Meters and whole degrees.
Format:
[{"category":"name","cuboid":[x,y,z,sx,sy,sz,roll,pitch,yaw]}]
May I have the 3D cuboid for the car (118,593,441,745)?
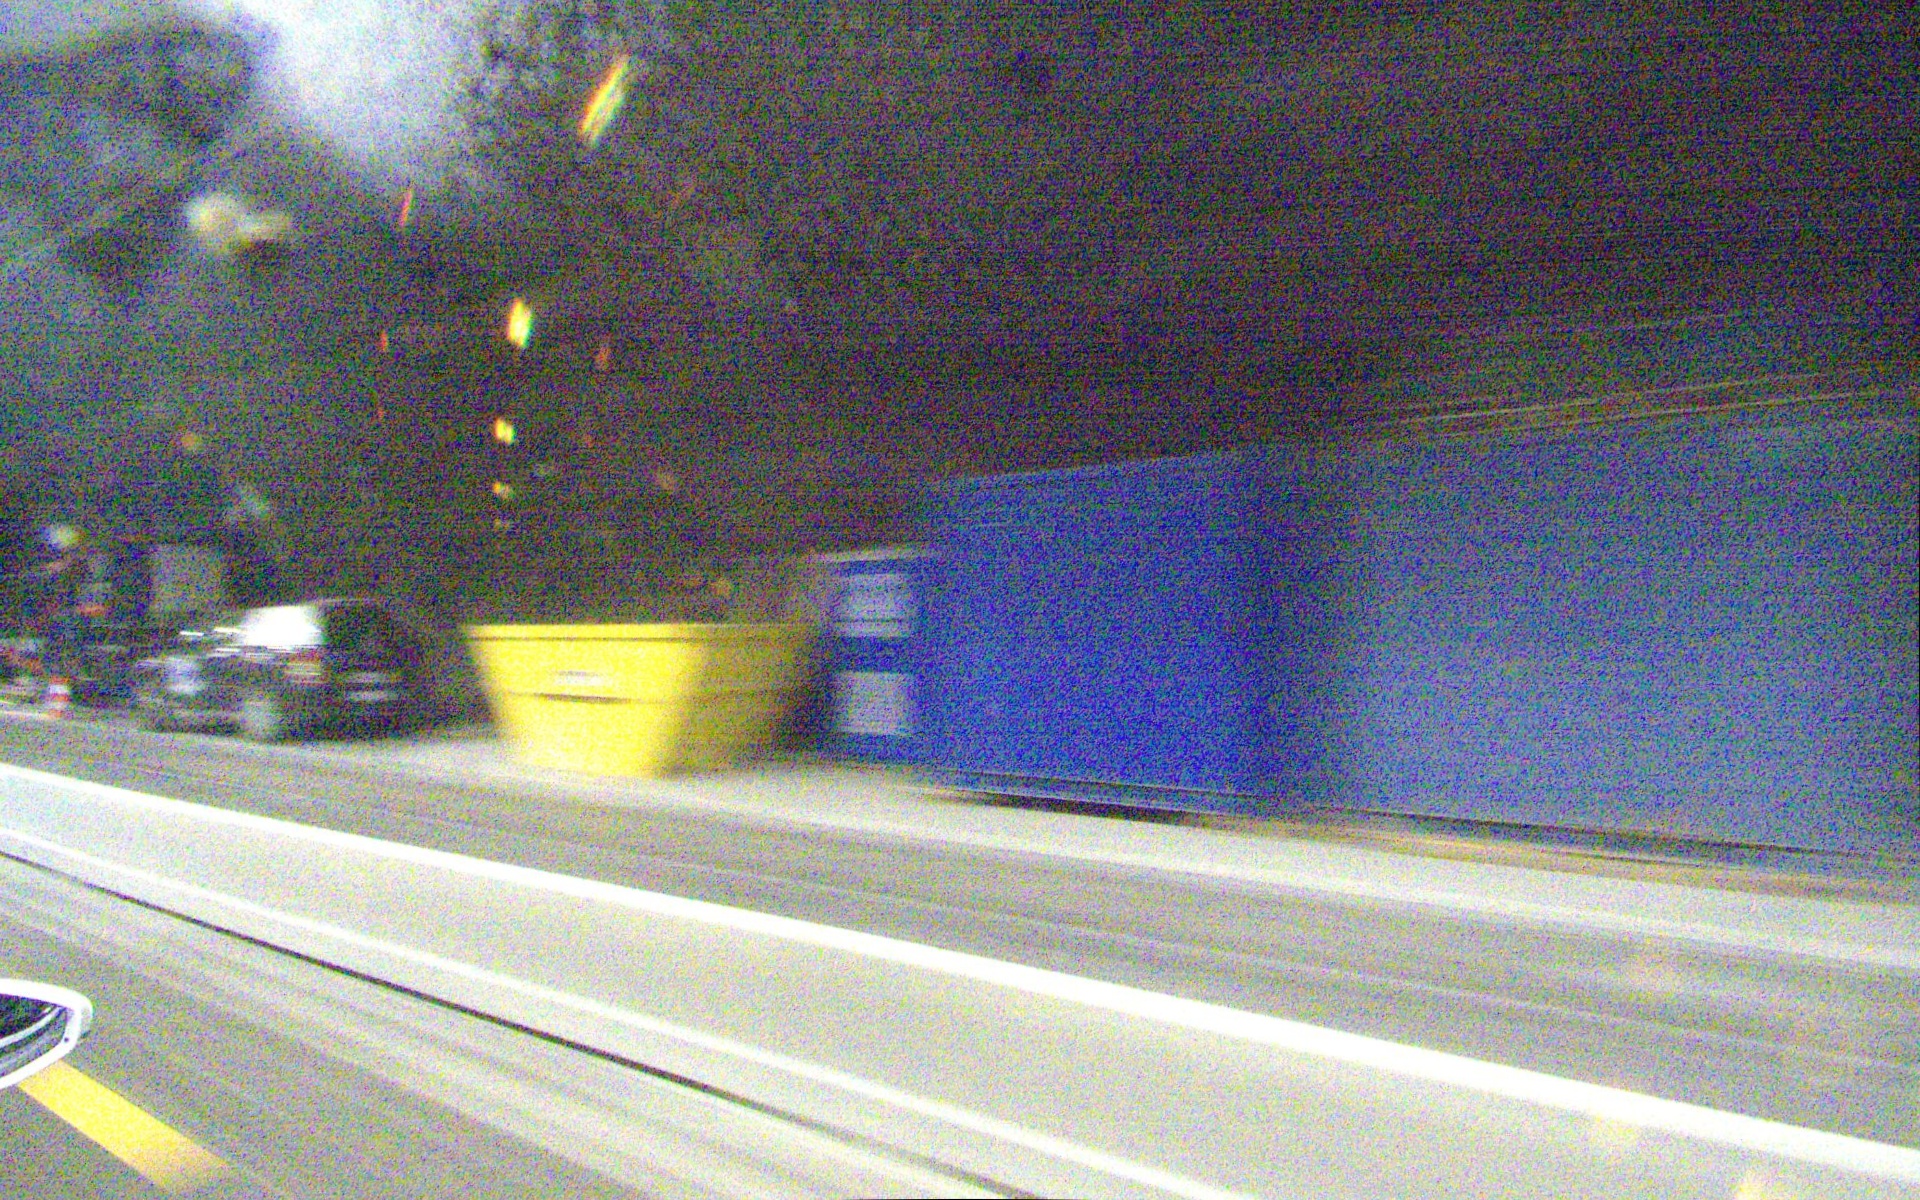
[{"category":"car","cuboid":[-10.034,0.920,14.618,5.362,1.882,1.825,-1,-2,31]}]
